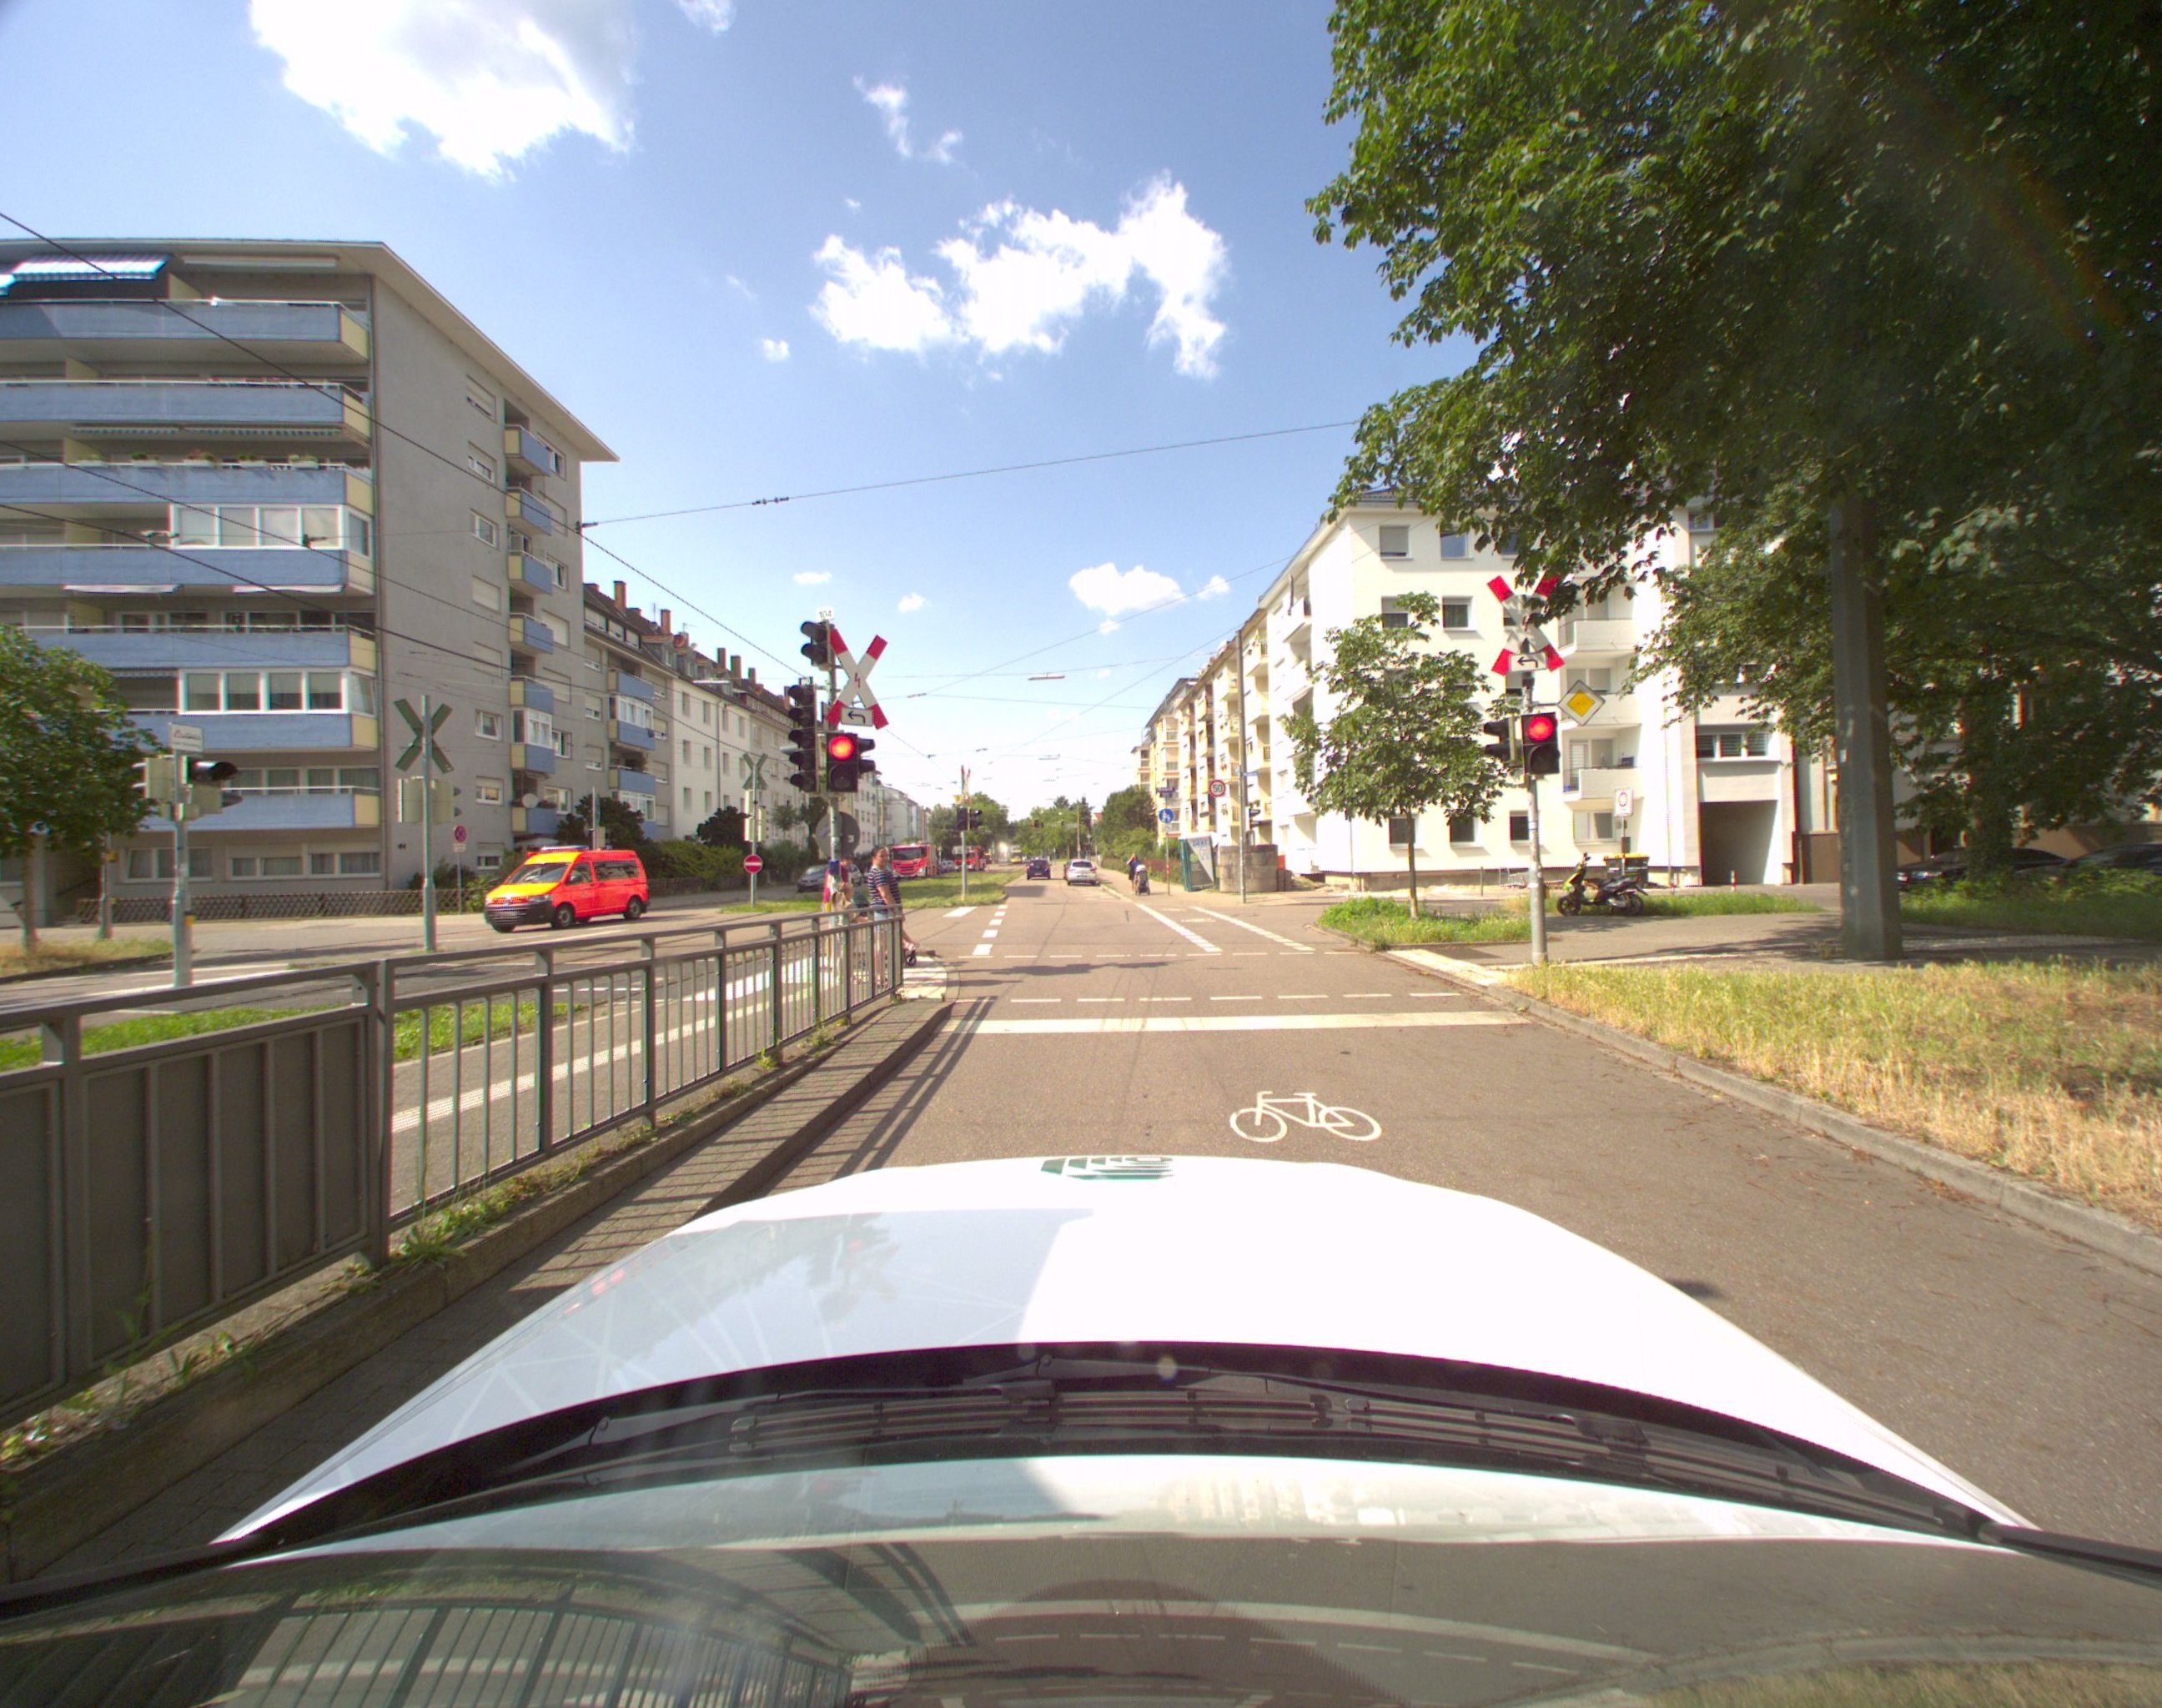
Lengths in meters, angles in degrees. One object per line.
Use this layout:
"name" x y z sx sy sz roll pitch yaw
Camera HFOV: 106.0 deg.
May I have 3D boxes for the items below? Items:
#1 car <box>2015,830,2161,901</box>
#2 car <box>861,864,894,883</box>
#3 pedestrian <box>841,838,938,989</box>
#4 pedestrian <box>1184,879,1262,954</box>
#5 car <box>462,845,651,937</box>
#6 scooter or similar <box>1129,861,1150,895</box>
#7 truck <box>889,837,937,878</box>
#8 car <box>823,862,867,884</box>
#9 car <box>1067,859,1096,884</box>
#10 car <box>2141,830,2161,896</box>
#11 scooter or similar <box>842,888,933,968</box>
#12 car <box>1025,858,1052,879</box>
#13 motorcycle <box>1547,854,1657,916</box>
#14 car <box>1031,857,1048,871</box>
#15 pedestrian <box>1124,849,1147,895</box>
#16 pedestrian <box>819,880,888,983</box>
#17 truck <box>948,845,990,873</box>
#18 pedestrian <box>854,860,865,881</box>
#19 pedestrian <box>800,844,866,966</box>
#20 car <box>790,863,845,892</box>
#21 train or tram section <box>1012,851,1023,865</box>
"car" 23.222 0.225 17.505 1.733 1.459 4.001 -2 0 1
"car" -16.188 1.553 64.983 1.763 1.442 3.997 0 -1 -2
"pedestrian" -2.260 0.668 9.592 0.851 1.667 0.790 -1 -1 -34
"pedestrian" 4.251 1.828 25.015 1.984 2.014 4.004 0 -1 4
"car" -14.675 0.947 23.212 1.985 2.275 4.838 -2 0 3
"scooter or similar" 2.334 0.941 32.454 0.660 1.303 0.868 -5 0 -1
"truck" -13.745 0.311 67.241 2.590 3.186 8.374 -1 -1 -2
"car" -15.900 1.276 55.007 1.762 1.442 3.999 0 -1 0
"car" 0.020 1.025 48.416 1.617 1.465 3.509 0 -1 -1
"car" 26.028 0.190 17.460 1.794 1.539 4.013 -2 0 11
"scooter or similar" -2.646 1.000 11.204 1.097 1.056 0.650 0 -1 -2
"car" -3.065 1.029 59.667 1.738 1.507 4.000 0 -1 1
"motorcycle" 11.039 0.656 17.333 0.574 1.215 1.829 -6 1 -30
"car" -4.679 1.123 92.426 1.739 1.507 3.997 0 -1 -1
"pedestrian" 2.229 0.721 33.332 0.699 1.789 1.029 -4 0 -1
"pedestrian" -2.794 0.916 9.971 0.640 1.180 0.791 -1 -1 -28
"truck" -14.333 0.694 104.816 2.652 3.471 10.189 0 -1 8
"pedestrian" -19.146 1.437 70.363 0.704 1.794 0.863 -2 0 -5
"pedestrian" -3.424 0.693 11.298 0.704 1.648 0.636 1 -1 -3
"car" -15.778 1.383 48.985 1.987 1.645 3.999 0 -1 0
"train or tram section" -15.123 0.910 194.667 2.254 3.069 8.122 -2 0 -4
